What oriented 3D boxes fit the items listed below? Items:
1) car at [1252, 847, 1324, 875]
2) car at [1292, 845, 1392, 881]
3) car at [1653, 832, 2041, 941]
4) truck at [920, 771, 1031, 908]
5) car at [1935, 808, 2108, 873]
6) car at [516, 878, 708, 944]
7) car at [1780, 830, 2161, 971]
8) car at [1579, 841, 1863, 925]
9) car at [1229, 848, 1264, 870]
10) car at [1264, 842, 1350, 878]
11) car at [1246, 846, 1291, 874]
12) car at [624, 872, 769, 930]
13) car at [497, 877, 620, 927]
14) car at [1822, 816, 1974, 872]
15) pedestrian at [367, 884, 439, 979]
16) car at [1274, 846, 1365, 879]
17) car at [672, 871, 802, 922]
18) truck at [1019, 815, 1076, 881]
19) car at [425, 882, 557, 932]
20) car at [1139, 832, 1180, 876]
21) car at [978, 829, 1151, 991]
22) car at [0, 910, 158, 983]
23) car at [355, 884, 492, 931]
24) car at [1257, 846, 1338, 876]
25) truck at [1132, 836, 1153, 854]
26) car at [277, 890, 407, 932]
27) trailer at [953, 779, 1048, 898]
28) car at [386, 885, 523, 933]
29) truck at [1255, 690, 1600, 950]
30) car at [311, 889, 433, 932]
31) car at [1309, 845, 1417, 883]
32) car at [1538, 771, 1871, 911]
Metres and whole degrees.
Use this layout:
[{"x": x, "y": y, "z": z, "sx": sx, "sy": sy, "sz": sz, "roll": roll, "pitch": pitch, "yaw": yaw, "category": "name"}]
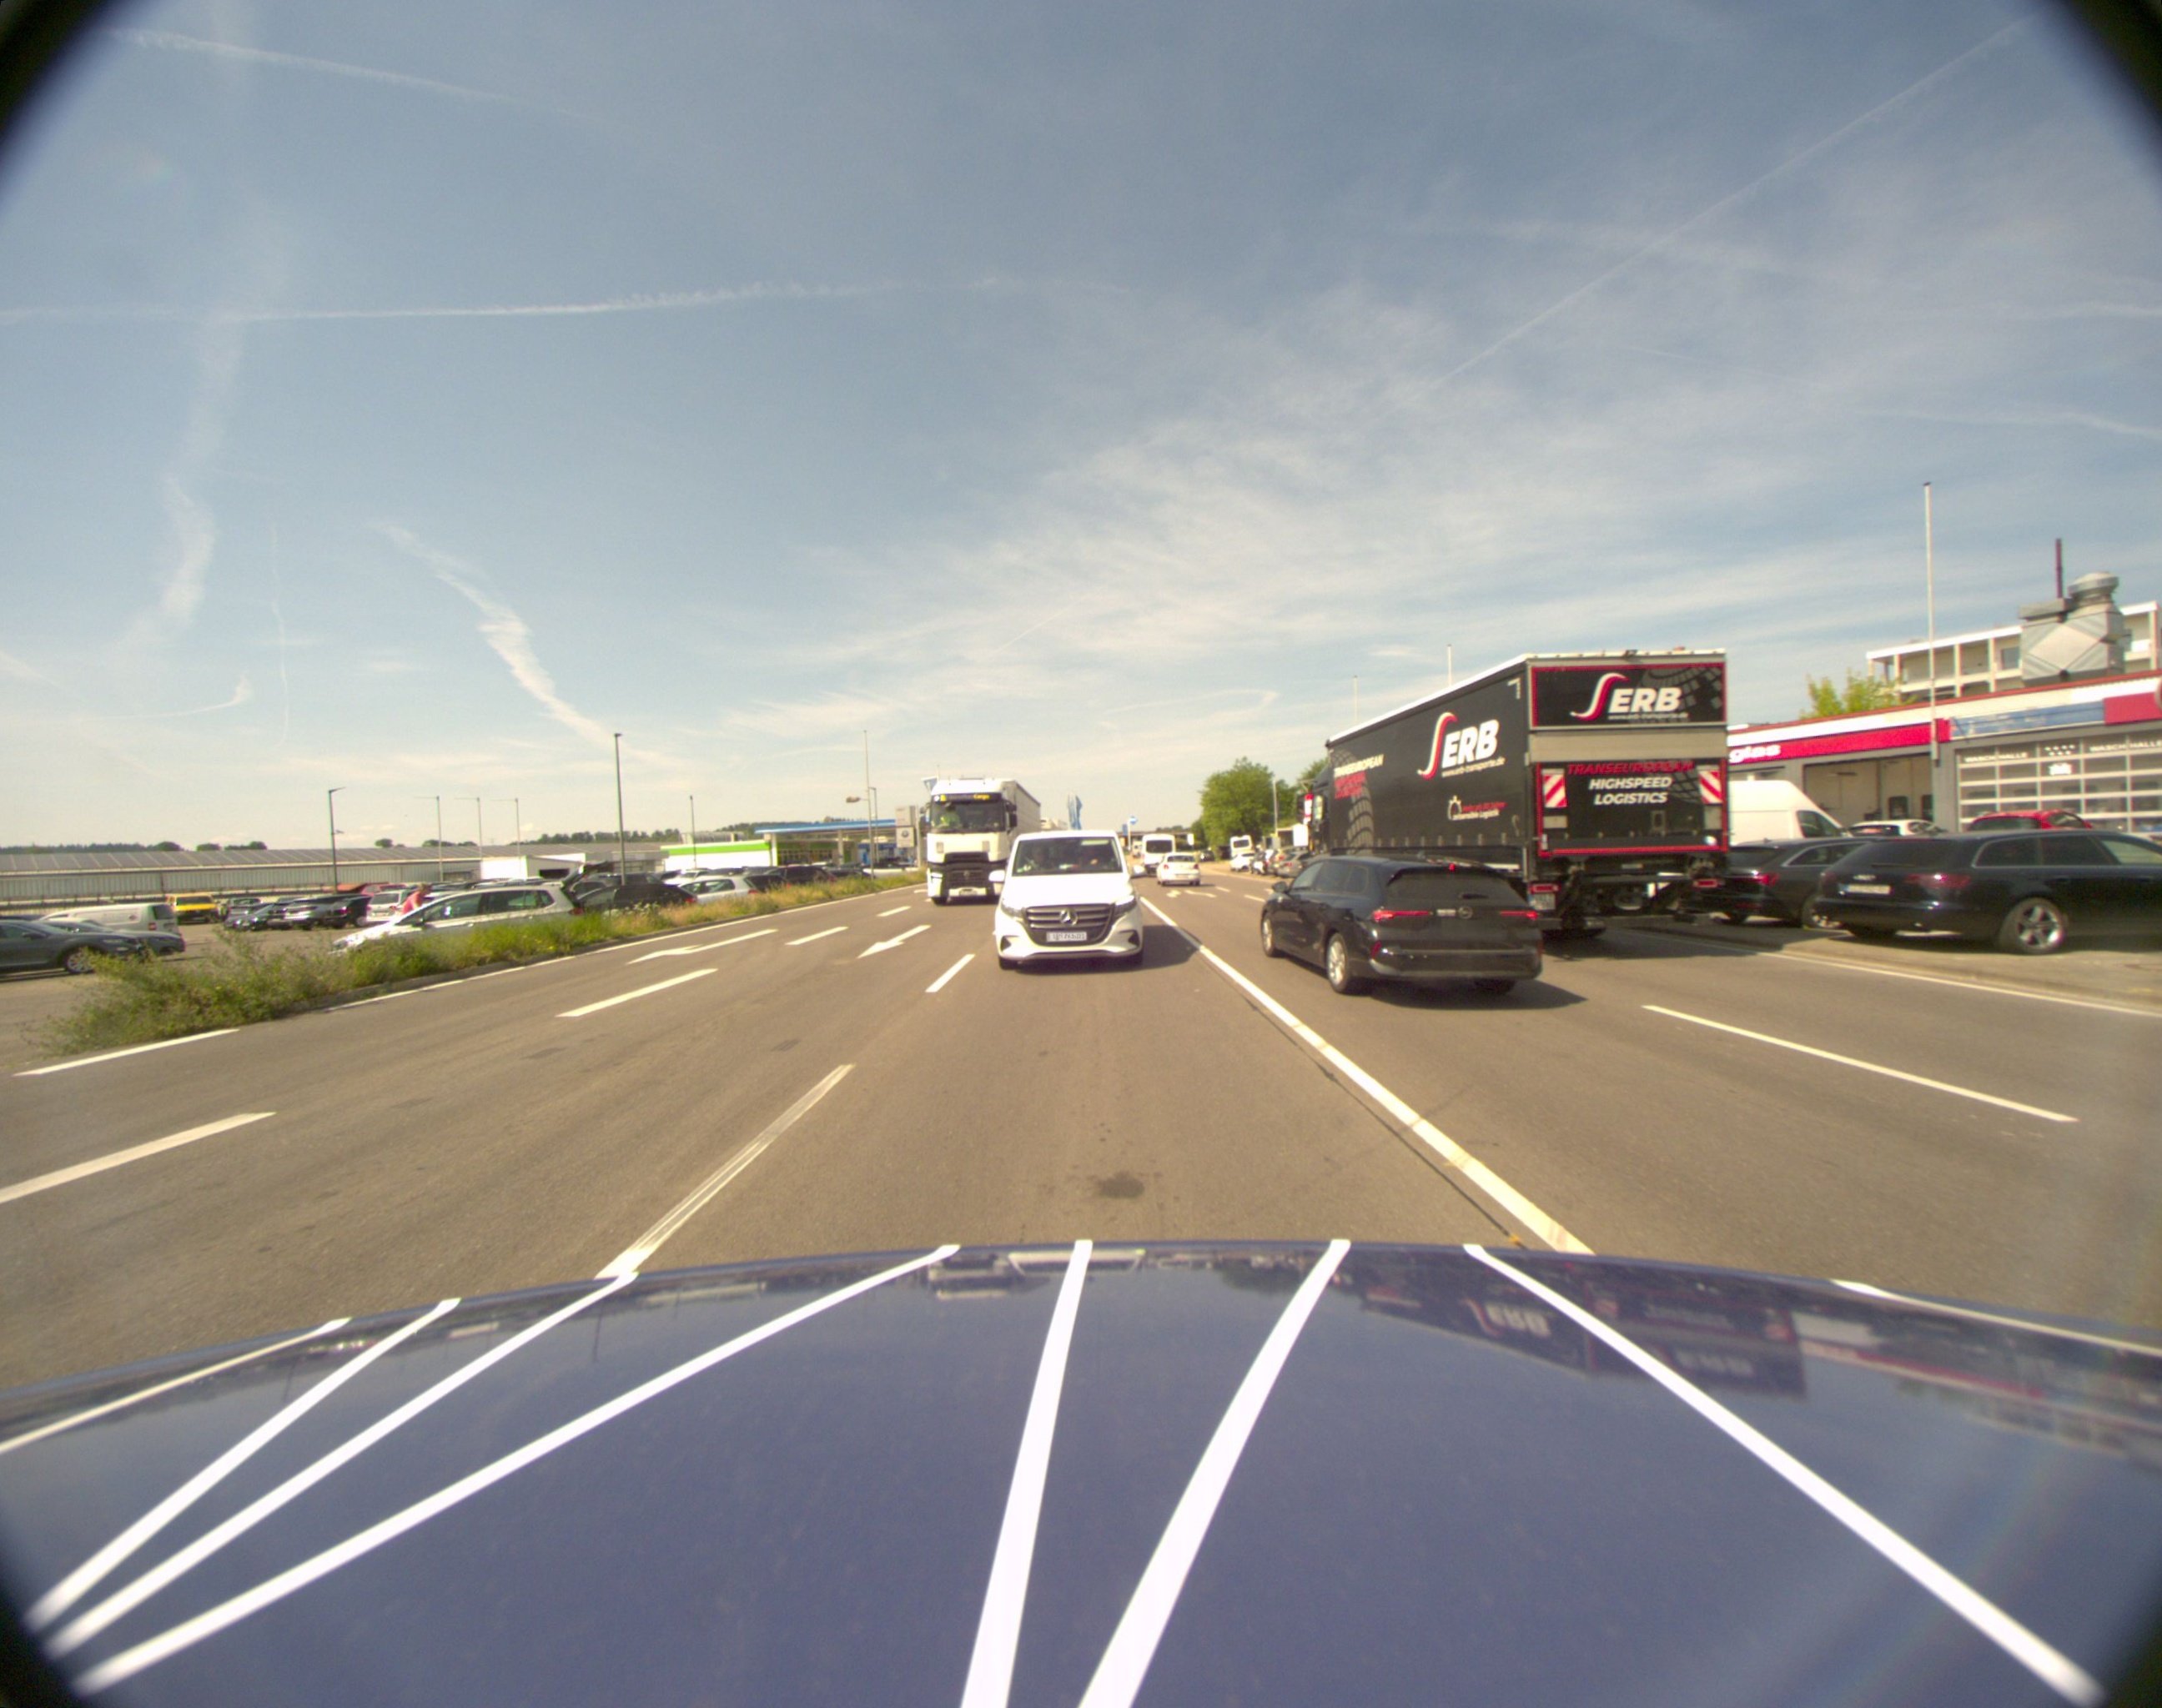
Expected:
[{"x": 12.382, "y": 0.389, "z": 45.601, "sx": 3.798, "sy": 1.542, "sz": 1.941, "roll": -2, "pitch": 1, "yaw": -1, "category": "car"}, {"x": 11.991, "y": 0.405, "z": 35.050, "sx": 3.996, "sy": 1.474, "sz": 1.756, "roll": -2, "pitch": 1, "yaw": 3, "category": "car"}, {"x": 12.419, "y": 0.488, "z": 12.564, "sx": 4.378, "sy": 1.521, "sz": 2.029, "roll": -2, "pitch": 1, "yaw": -1, "category": "car"}, {"x": -3.313, "y": -0.443, "z": 25.403, "sx": 2.647, "sy": 3.964, "sz": 6.041, "roll": -2, "pitch": 1, "yaw": 1, "category": "truck"}, {"x": 26.226, "y": -0.375, "z": 21.201, "sx": 4.004, "sy": 1.608, "sz": 1.914, "roll": -2, "pitch": 1, "yaw": -22, "category": "car"}, {"x": -12.978, "y": 1.508, "z": 21.259, "sx": 4.350, "sy": 1.444, "sz": 1.772, "roll": -2, "pitch": 1, "yaw": -32, "category": "car"}, {"x": 11.885, "y": 0.509, "z": 9.700, "sx": 4.044, "sy": 1.521, "sz": 2.031, "roll": -2, "pitch": 1, "yaw": 0, "category": "car"}, {"x": 12.555, "y": 0.535, "z": 15.121, "sx": 3.996, "sy": 1.461, "sz": 1.881, "roll": -2, "pitch": 1, "yaw": 2, "category": "car"}, {"x": 12.049, "y": 0.351, "z": 55.439, "sx": 1.765, "sy": 1.406, "sz": 4.000, "roll": -5, "pitch": 0, "yaw": 3, "category": "car"}, {"x": 11.947, "y": 0.301, "z": 40.393, "sx": 3.996, "sy": 1.717, "sz": 1.871, "roll": -2, "pitch": 1, "yaw": 2, "category": "car"}, {"x": 11.971, "y": 0.347, "z": 48.785, "sx": 1.998, "sy": 1.546, "sz": 4.001, "roll": -6, "pitch": 0, "yaw": 4, "category": "car"}, {"x": -12.420, "y": 1.463, "z": 24.701, "sx": 4.005, "sy": 1.549, "sz": 1.709, "roll": -2, "pitch": 1, "yaw": -27, "category": "car"}, {"x": -21.237, "y": 1.900, "z": 31.147, "sx": 1.908, "sy": 1.645, "sz": 4.708, "roll": -2, "pitch": 1, "yaw": -3, "category": "car"}, {"x": 25.279, "y": -0.313, "z": 23.510, "sx": 3.948, "sy": 1.511, "sz": 1.880, "roll": -2, "pitch": 1, "yaw": -22, "category": "car"}, {"x": -14.414, "y": 1.616, "z": 16.187, "sx": 0.990, "sy": 1.900, "sz": 0.742, "roll": -2, "pitch": 1, "yaw": -34, "category": "pedestrian"}, {"x": 11.826, "y": 0.395, "z": 37.815, "sx": 3.974, "sy": 1.484, "sz": 1.739, "roll": -2, "pitch": 1, "yaw": -2, "category": "car"}, {"x": -12.455, "y": 1.492, "z": 27.609, "sx": 4.007, "sy": 1.543, "sz": 1.771, "roll": -2, "pitch": 1, "yaw": -35, "category": "car"}, {"x": -2.082, "y": -0.415, "z": 50.984, "sx": 2.646, "sy": 3.964, "sz": 9.241, "roll": -2, "pitch": 1, "yaw": 4, "category": "truck"}, {"x": -23.824, "y": 2.091, "z": 30.943, "sx": 1.969, "sy": 1.645, "sz": 4.536, "roll": -2, "pitch": 1, "yaw": -3, "category": "car"}, {"x": 4.851, "y": -0.011, "z": 47.971, "sx": 2.063, "sy": 2.495, "sz": 7.115, "roll": -2, "pitch": 1, "yaw": 3, "category": "car"}, {"x": -0.164, "y": 0.645, "z": 11.918, "sx": 1.993, "sy": 1.858, "sz": 5.803, "roll": -2, "pitch": 1, "yaw": 1, "category": "car"}, {"x": -26.728, "y": 2.370, "z": 19.180, "sx": 4.084, "sy": 1.599, "sz": 1.689, "roll": -2, "pitch": -1, "yaw": -41, "category": "car"}, {"x": -29.272, "y": 2.340, "z": 34.059, "sx": 1.821, "sy": 1.719, "sz": 4.539, "roll": -2, "pitch": 1, "yaw": 6, "category": "car"}, {"x": 12.156, "y": 0.361, "z": 42.865, "sx": 3.997, "sy": 1.516, "sz": 2.000, "roll": -2, "pitch": 1, "yaw": -1, "category": "car"}, {"x": 9.796, "y": -1.447, "z": 120.172, "sx": 2.439, "sy": 2.820, "sz": 6.047, "roll": -2, "pitch": 1, "yaw": 13, "category": "truck"}, {"x": -36.588, "y": 2.792, "z": 37.820, "sx": 1.774, "sy": 1.645, "sz": 4.539, "roll": -2, "pitch": 1, "yaw": 5, "category": "car"}, {"x": -3.157, "y": -0.605, "z": 33.171, "sx": 2.613, "sy": 4.203, "sz": 11.291, "roll": -2, "pitch": 1, "yaw": 1, "category": "trailer"}, {"x": -26.769, "y": 2.301, "z": 32.705, "sx": 1.774, "sy": 1.645, "sz": 4.539, "roll": -2, "pitch": 1, "yaw": 6, "category": "car"}, {"x": 6.565, "y": -0.566, "z": 16.833, "sx": 2.718, "sy": 3.975, "sz": 9.973, "roll": -2, "pitch": 1, "yaw": -2, "category": "truck"}, {"x": -34.233, "y": 2.689, "z": 36.908, "sx": 1.775, "sy": 1.645, "sz": 4.536, "roll": -2, "pitch": 1, "yaw": -3, "category": "car"}, {"x": 11.973, "y": 0.409, "z": 32.475, "sx": 3.877, "sy": 1.490, "sz": 1.949, "roll": -2, "pitch": 1, "yaw": 3, "category": "car"}, {"x": 13.991, "y": -0.259, "z": 17.360, "sx": 5.722, "sy": 2.822, "sz": 2.116, "roll": -2, "pitch": 0, "yaw": 2, "category": "car"}]
